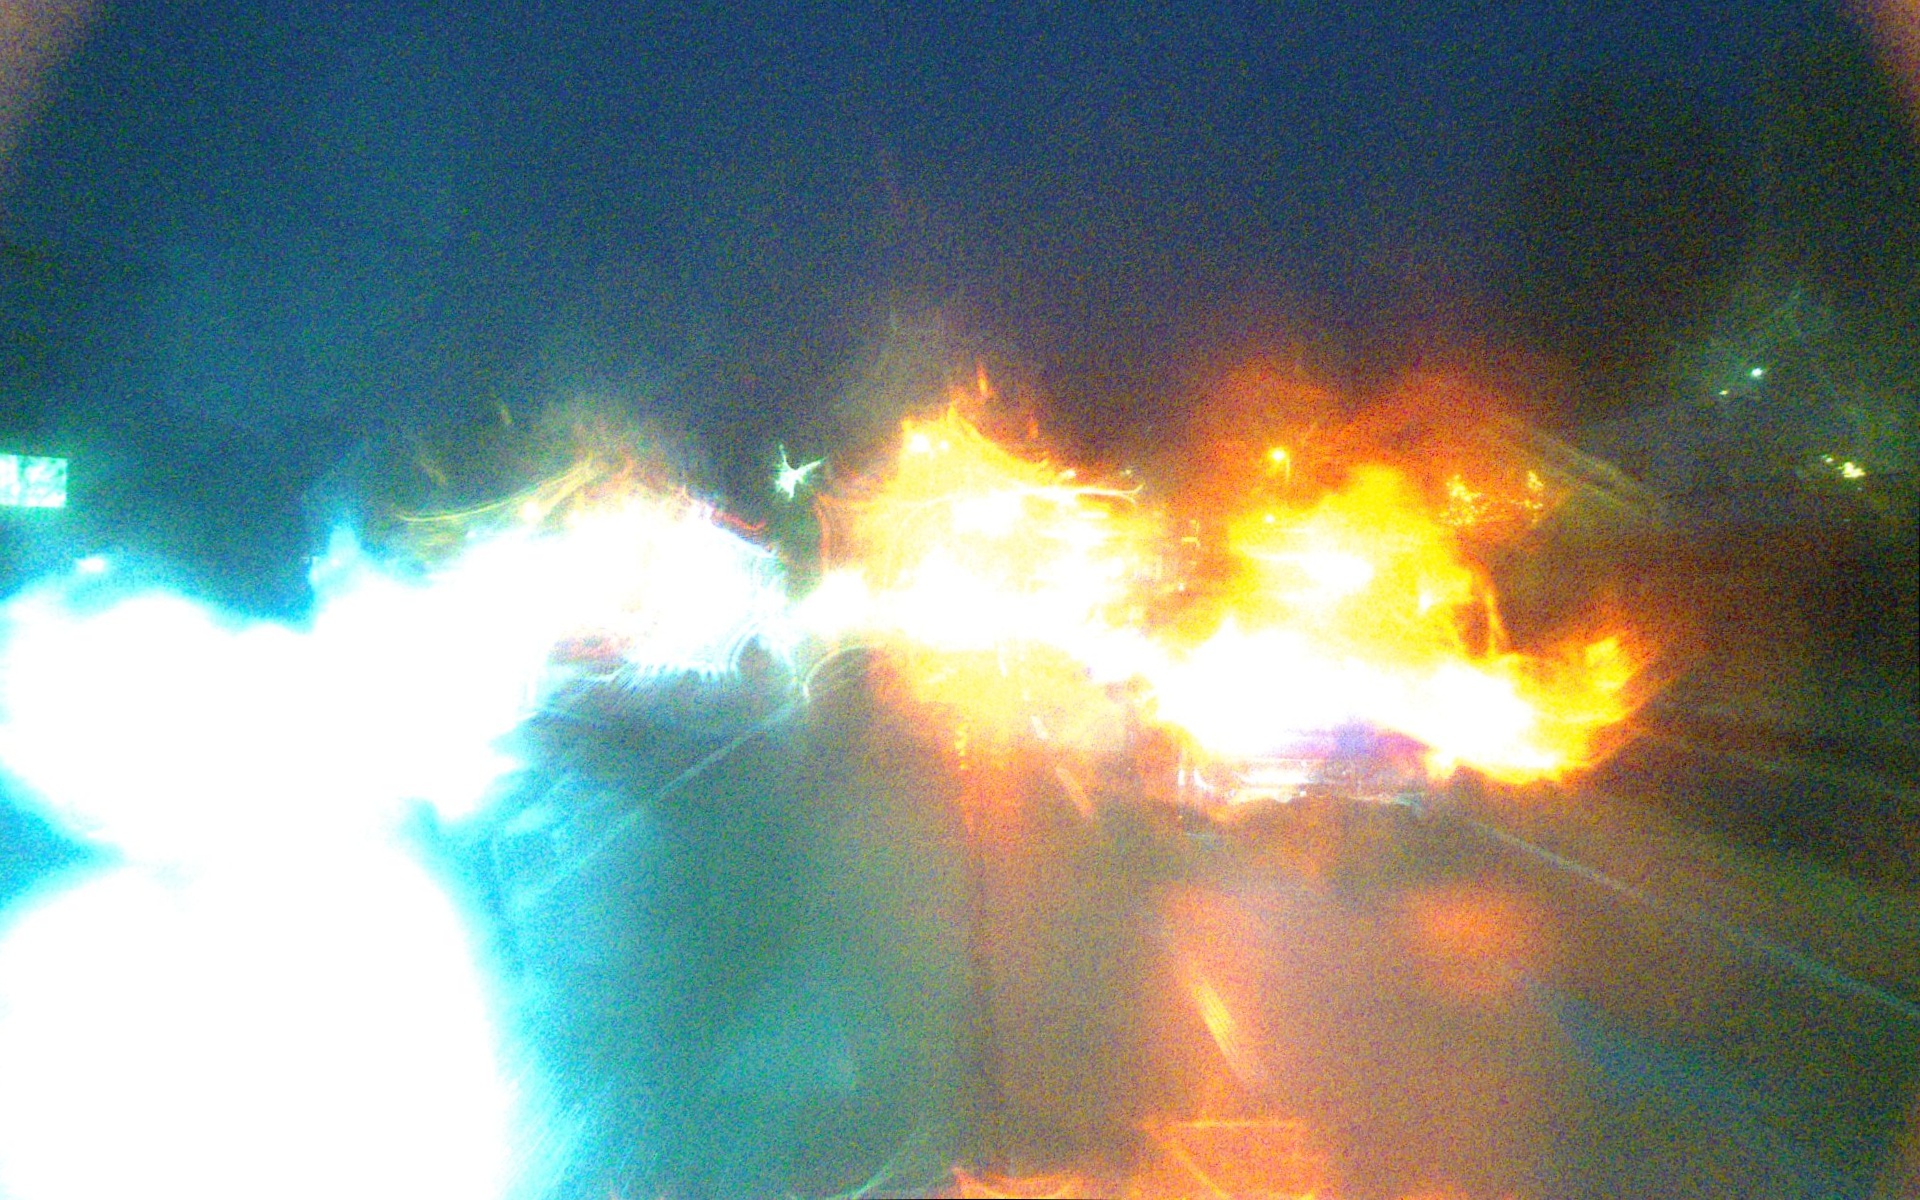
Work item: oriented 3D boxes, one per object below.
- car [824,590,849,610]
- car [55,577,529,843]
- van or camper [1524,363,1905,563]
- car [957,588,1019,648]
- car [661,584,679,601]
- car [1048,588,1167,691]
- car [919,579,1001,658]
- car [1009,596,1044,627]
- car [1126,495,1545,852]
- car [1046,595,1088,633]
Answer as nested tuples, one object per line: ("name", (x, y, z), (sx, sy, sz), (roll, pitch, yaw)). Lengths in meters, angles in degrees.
("car", (-9.930, -0.001, 132.690), (1.677, 1.525, 3.722), (-1, 0, -9))
("car", (-4.284, 0.591, 11.377), (1.660, 1.459, 4.291), (1, 1, -3))
("van or camper", (12.817, -2.184, 28.773), (2.539, 2.959, 6.329), (0, 0, -17))
("car", (0.862, 0.512, 48.749), (1.673, 1.666, 3.732), (-1, 0, 3))
("car", (-34.574, -0.914, 197.155), (1.956, 1.945, 4.734), (1, 0, -8))
("car", (2.395, 0.567, 26.542), (1.730, 1.475, 4.221), (1, 1, 6))
("car", (0.056, 0.406, 37.536), (1.659, 1.658, 3.854), (1, 0, 3))
("car", (3.259, 0.548, 80.812), (1.628, 1.475, 4.051), (1, 0, 2))
("car", (2.346, 0.398, 11.509), (1.903, 2.006, 4.217), (1, 1, -1))
("car", (4.386, 0.564, 67.483), (1.628, 1.475, 4.052), (0, 0, 5))
